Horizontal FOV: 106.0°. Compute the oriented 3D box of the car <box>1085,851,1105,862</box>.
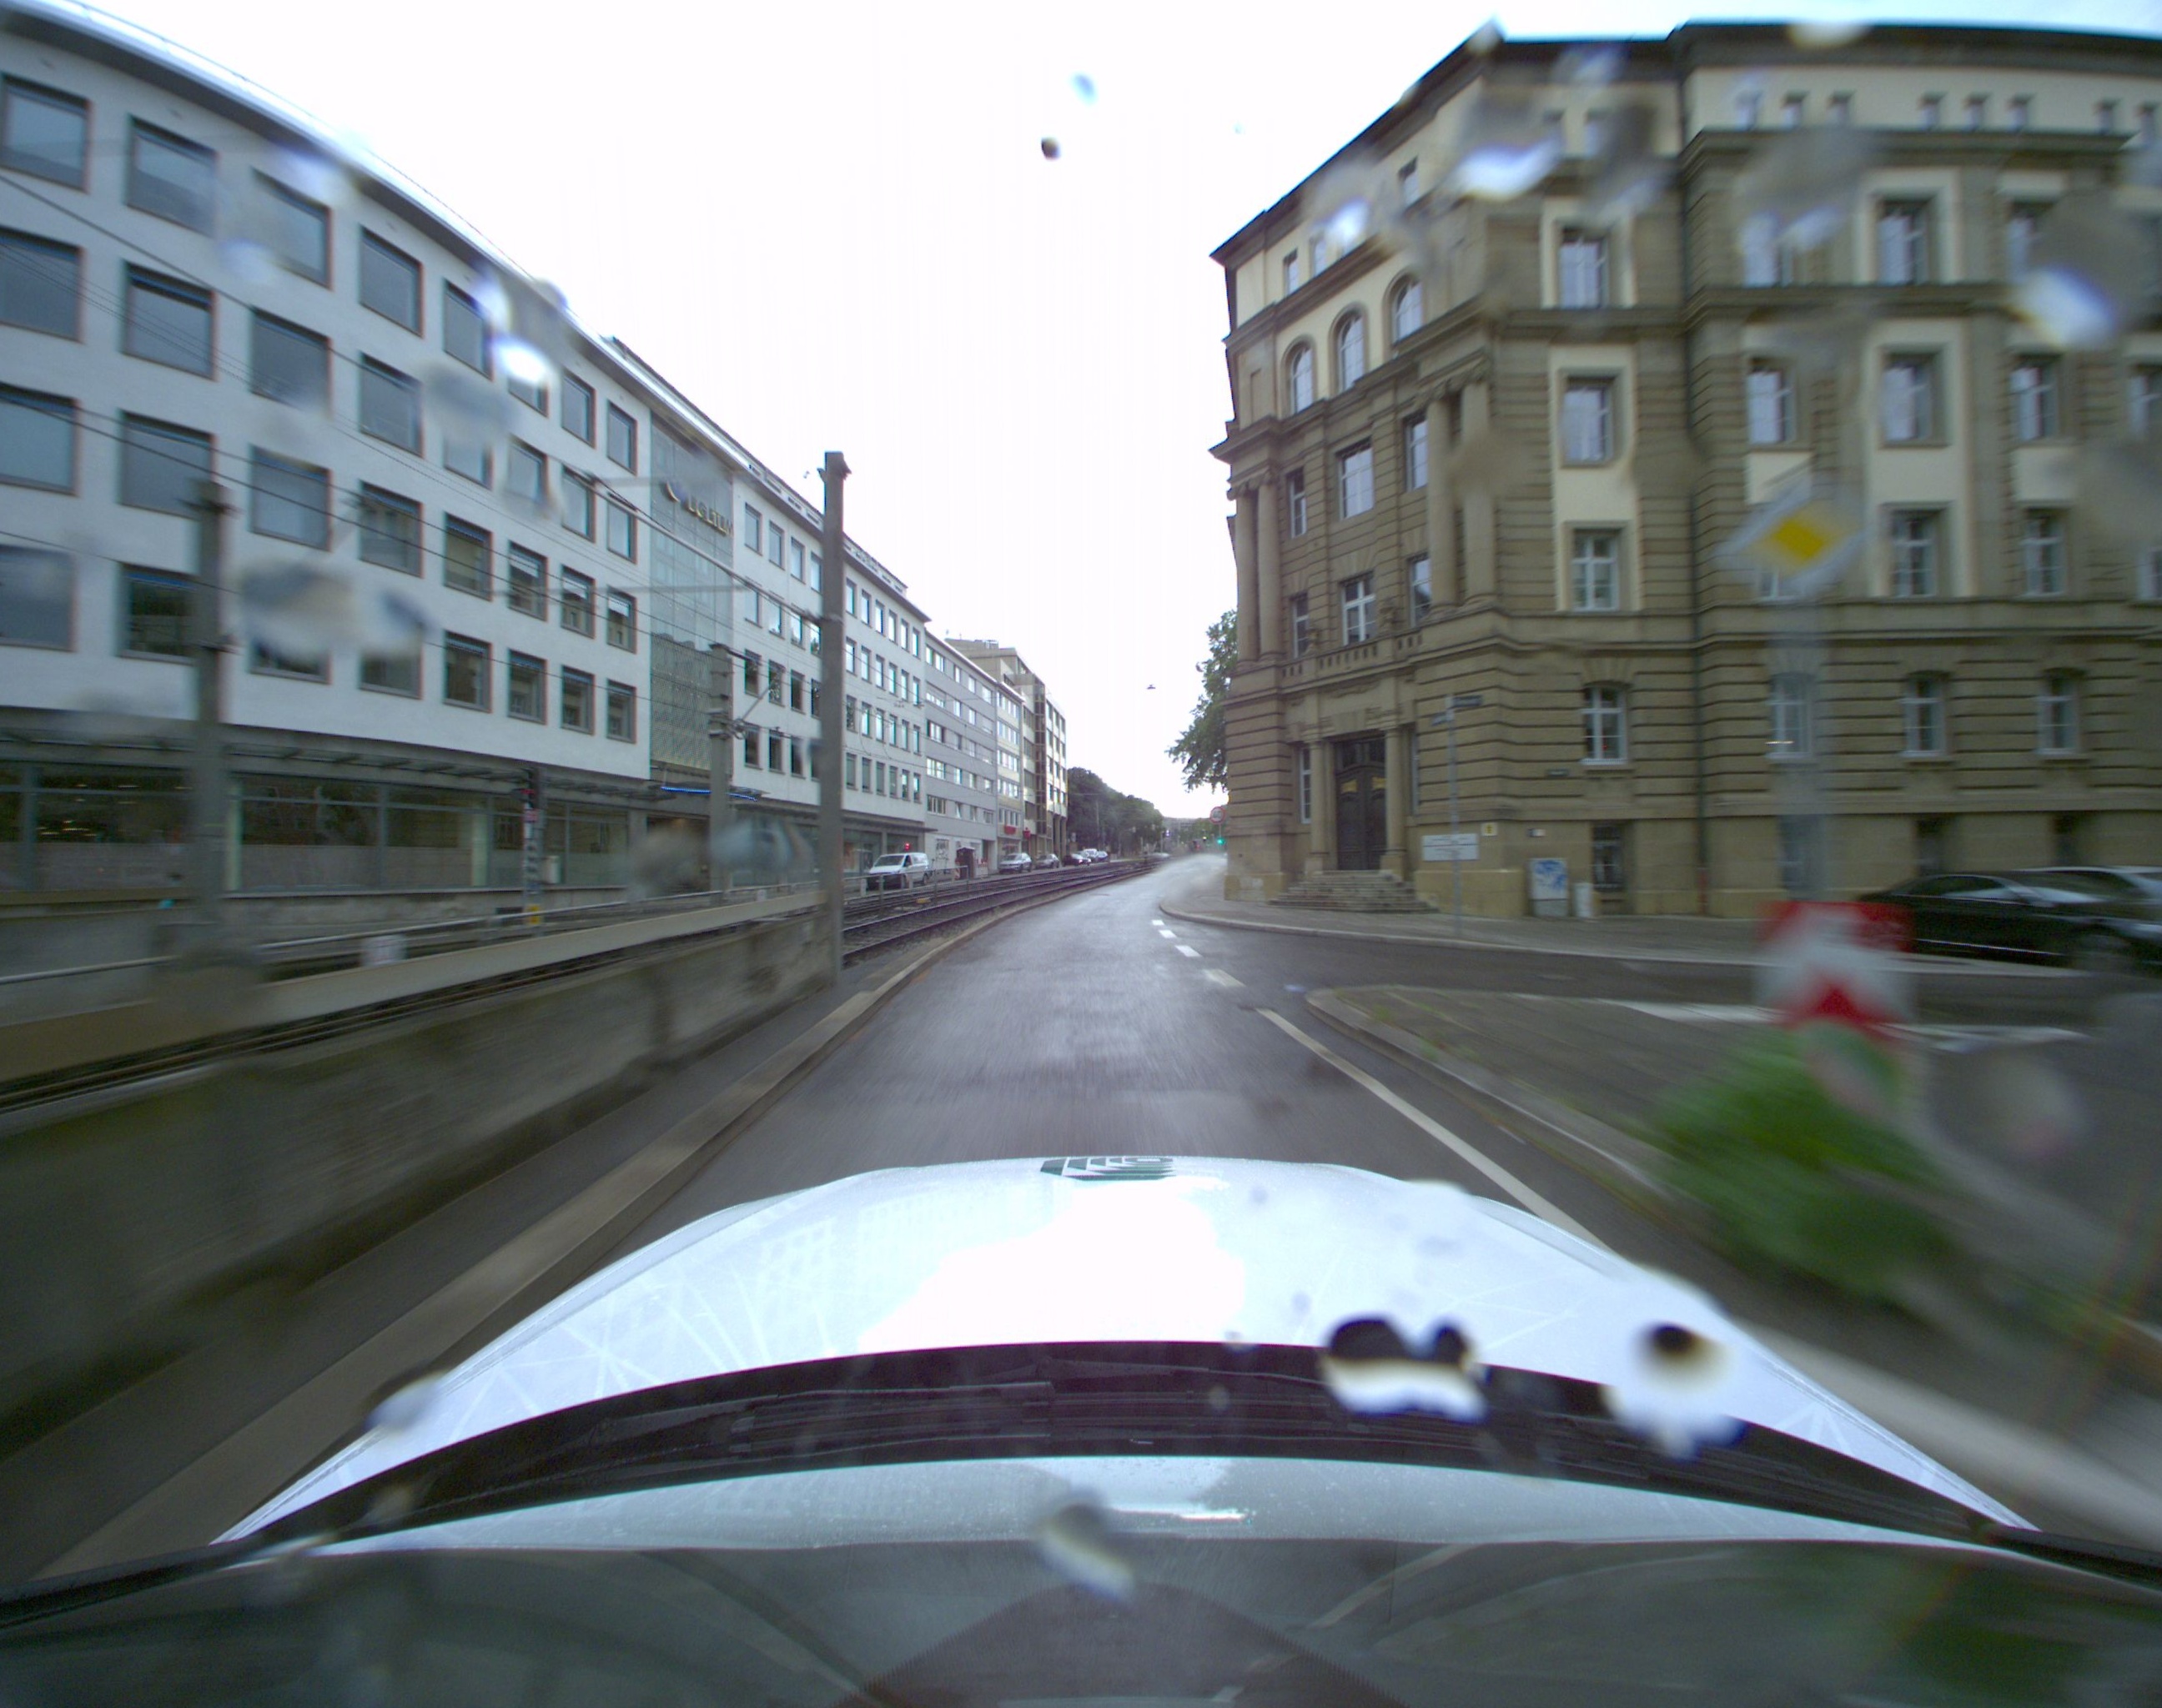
[{"bbox_3d":[1.858,0.278,106.725,1.982,1.456,4.322,0,0,9],"label":"car"}]

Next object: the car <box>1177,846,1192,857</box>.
[{"bbox_3d":[15.249,-0.384,119.488,1.981,1.662,4.011,0,0,9],"label":"car"}]

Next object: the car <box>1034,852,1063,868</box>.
[{"bbox_3d":[-3.112,0.543,78.449,1.982,1.456,4.322,0,0,9],"label":"car"}]

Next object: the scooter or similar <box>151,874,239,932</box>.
[{"bbox_3d":[-19.423,1.053,17.872,0.541,1.178,1.194,0,0,24],"label":"scooter or similar"}]

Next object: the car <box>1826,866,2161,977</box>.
[{"bbox_3d":[15.067,0.921,13.071,1.728,1.367,5.003,0,0,1],"label":"car"}]

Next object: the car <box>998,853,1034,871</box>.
[{"bbox_3d":[-5.258,0.634,66.314,1.982,1.456,4.322,0,0,9],"label":"car"}]

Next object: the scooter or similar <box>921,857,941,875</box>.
[{"bbox_3d":[-10.512,0.817,57.089,0.760,1.220,2.071,0,0,9],"label":"scooter or similar"}]

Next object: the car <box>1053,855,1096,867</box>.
[{"bbox_3d":[-0.718,0.741,85.140,4.257,1.163,2.012,0,0,43],"label":"car"}]

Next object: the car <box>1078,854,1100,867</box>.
[{"bbox_3d":[0.934,0.731,95.382,1.982,1.456,4.322,0,0,9],"label":"car"}]

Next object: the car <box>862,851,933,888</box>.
[{"bbox_3d":[-9.834,0.765,44.078,1.982,1.883,4.940,0,0,9],"label":"car"}]

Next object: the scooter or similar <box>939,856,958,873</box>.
[{"bbox_3d":[-9.940,0.772,61.172,0.760,1.220,2.071,0,0,9],"label":"scooter or similar"}]

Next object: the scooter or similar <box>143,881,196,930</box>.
[{"bbox_3d":[-20.218,1.125,18.069,0.813,1.044,0.551,0,0,24],"label":"scooter or similar"}]

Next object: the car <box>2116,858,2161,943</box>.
[{"bbox_3d":[20.132,0.834,13.476,1.672,1.517,3.583,0,0,6],"label":"car"}]

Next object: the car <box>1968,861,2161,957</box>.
[{"bbox_3d":[17.759,0.868,13.511,1.725,1.455,4.338,0,0,7],"label":"car"}]
